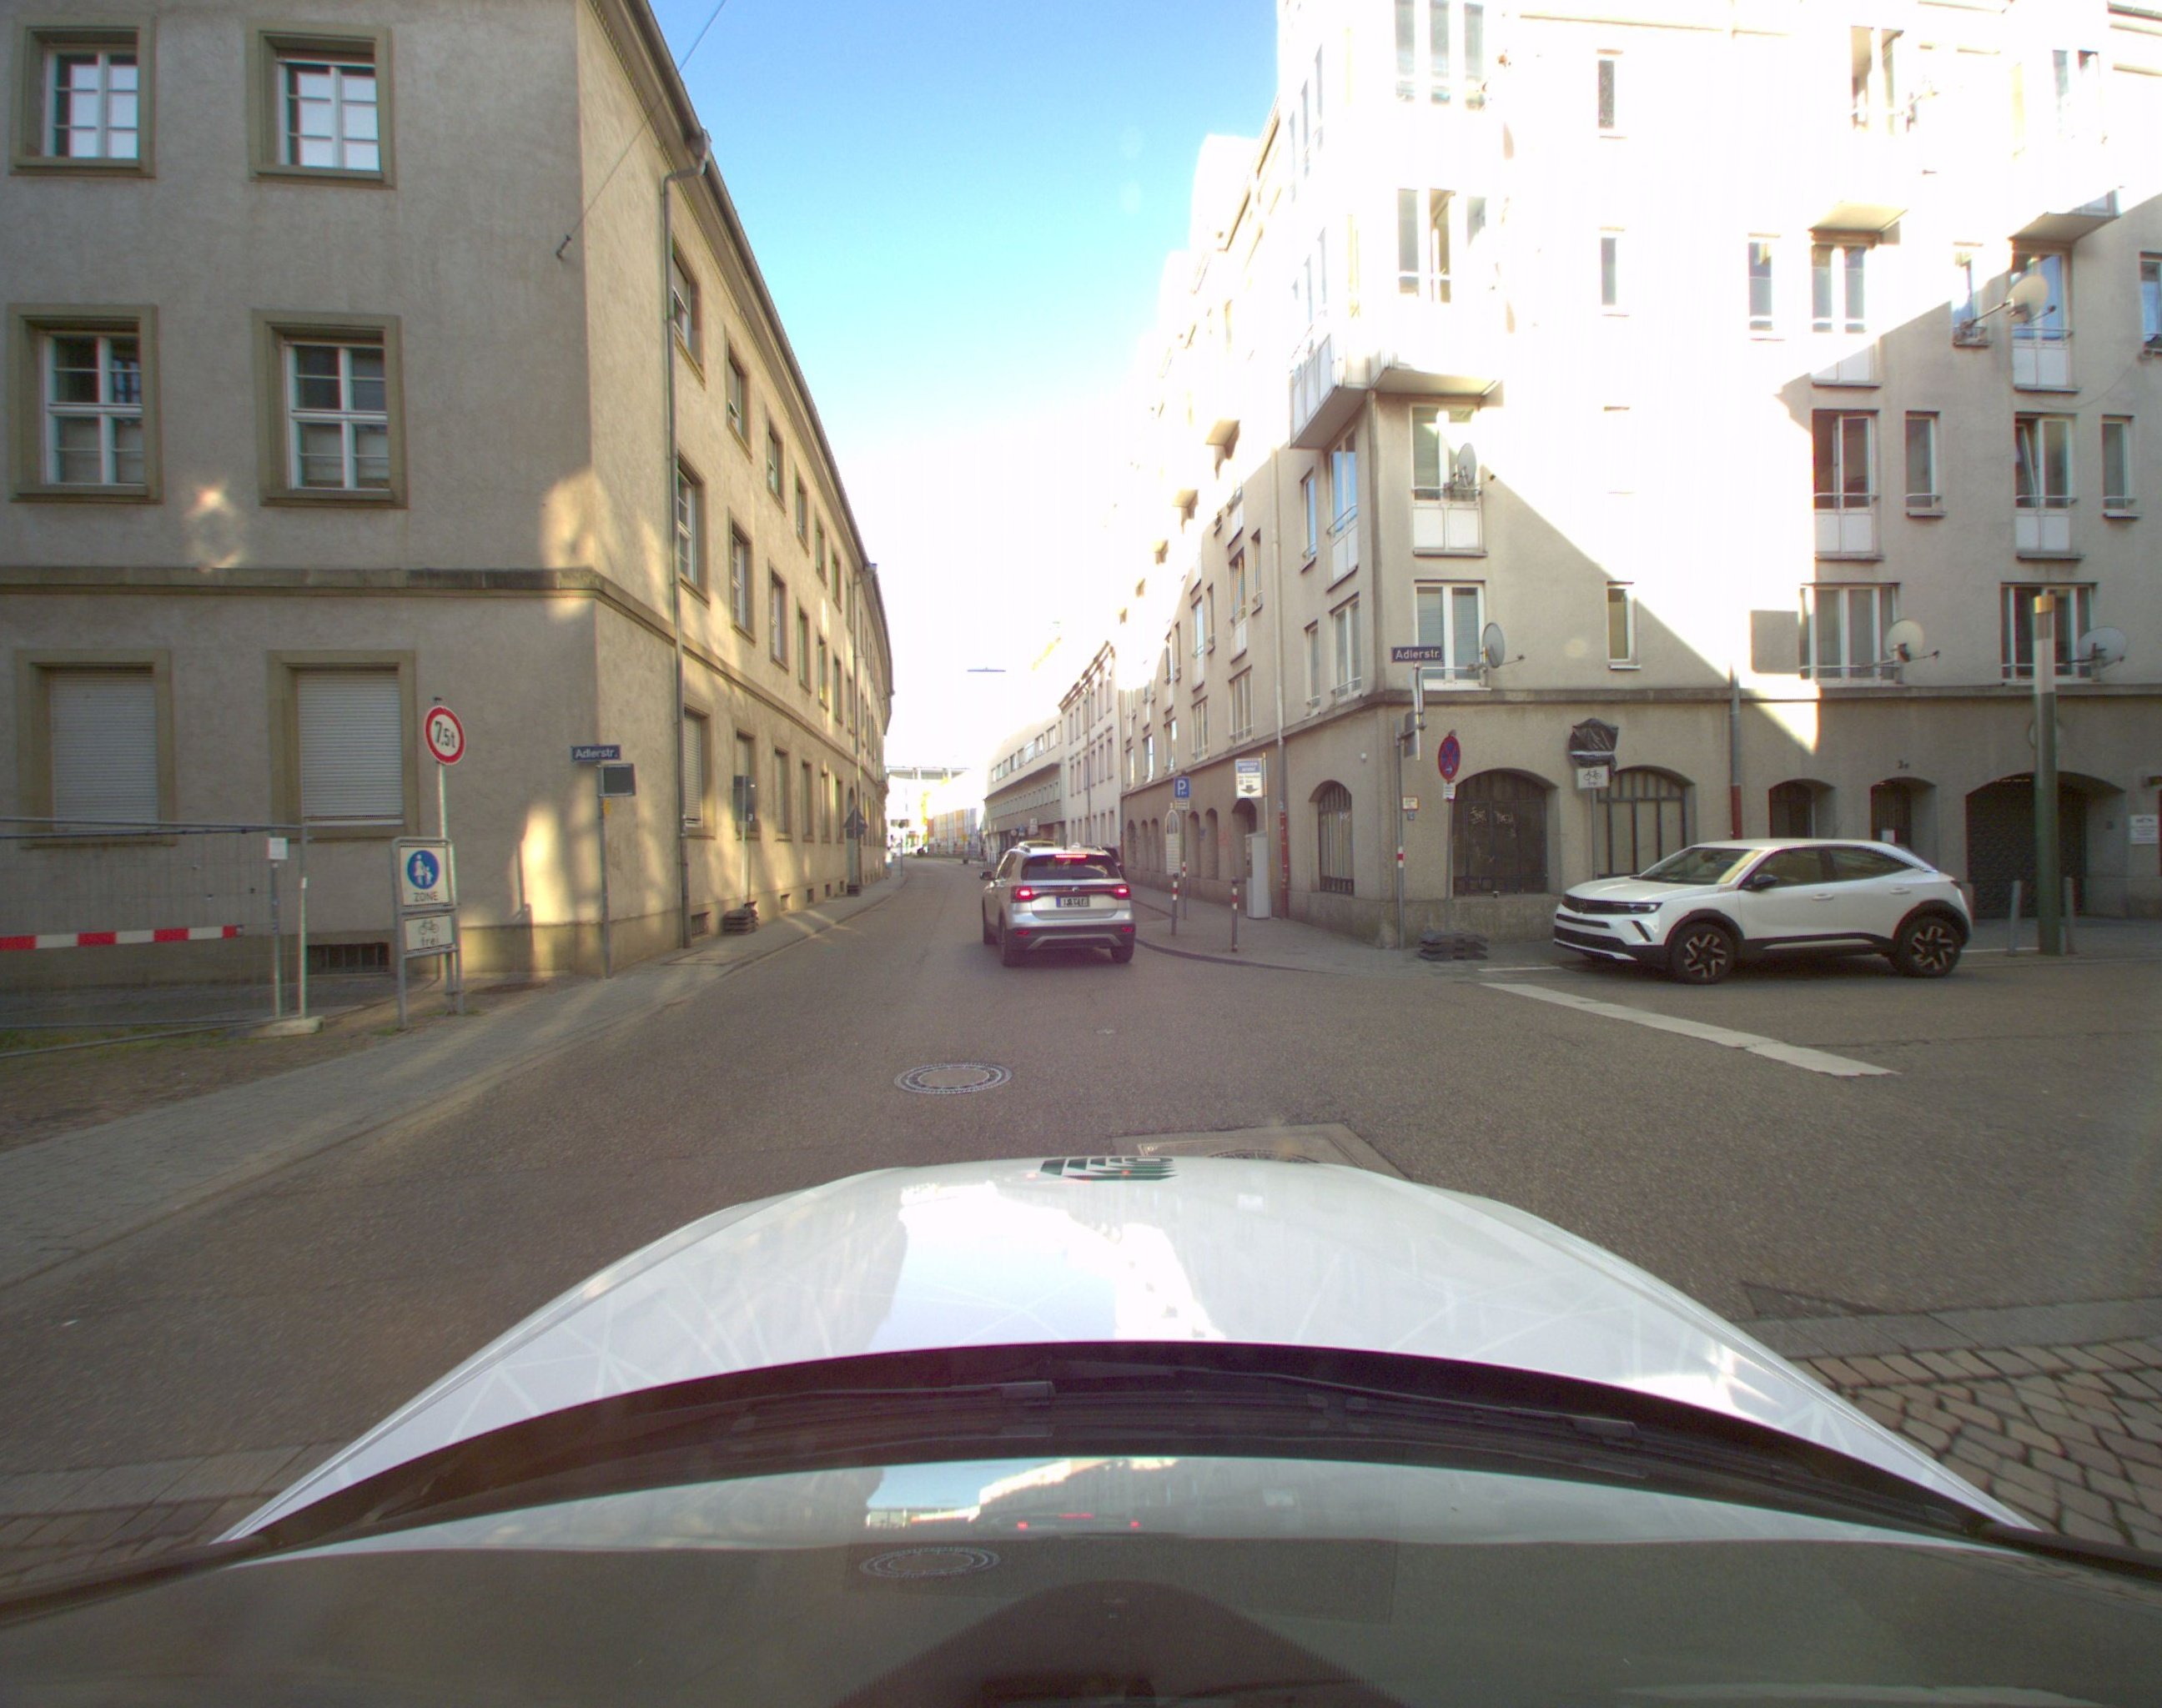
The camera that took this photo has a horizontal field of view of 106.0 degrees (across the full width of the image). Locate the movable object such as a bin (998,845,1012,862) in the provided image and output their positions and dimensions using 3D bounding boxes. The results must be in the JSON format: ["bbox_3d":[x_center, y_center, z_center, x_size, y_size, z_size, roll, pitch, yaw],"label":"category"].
[{"bbox_3d":[-6.386,-0.038,68.385,0.982,1.384,1.314,-3,-1,-14],"label":"movable object such as a bin"}]

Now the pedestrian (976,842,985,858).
[{"bbox_3d":[-11.676,-0.456,94.491,0.698,1.759,1.182,-5,1,-16],"label":"pedestrian"}]

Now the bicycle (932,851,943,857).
[{"bbox_3d":[-25.557,0.055,144.843,1.760,1.004,0.609,-4,1,-21],"label":"bicycle"}]

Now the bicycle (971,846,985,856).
[{"bbox_3d":[-13.025,-0.337,103.300,1.649,1.141,0.281,-6,2,-25],"label":"bicycle"}]

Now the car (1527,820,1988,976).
[{"bbox_3d":[7.769,0.455,9.617,4.058,1.568,1.766,-1,1,-2],"label":"car"}]

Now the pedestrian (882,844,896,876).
[{"bbox_3d":[-10.024,0.306,42.537,0.693,1.670,0.871,0,0,-12],"label":"pedestrian"}]

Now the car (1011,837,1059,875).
[{"bbox_3d":[-2.494,0.072,42.833,1.884,1.882,4.827,-1,1,-11],"label":"car"}]

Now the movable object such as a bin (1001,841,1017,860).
[{"bbox_3d":[-5.907,-0.279,66.834,0.982,1.480,1.544,-3,-1,-14],"label":"movable object such as a bin"}]

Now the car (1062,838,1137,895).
[{"bbox_3d":[0.501,0.337,26.300,1.823,1.654,4.483,-1,1,-7],"label":"car"}]

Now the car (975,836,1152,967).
[{"bbox_3d":[-0.443,0.546,11.979,1.827,1.559,3.969,-1,1,-13],"label":"car"}]

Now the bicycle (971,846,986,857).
[{"bbox_3d":[-12.862,-0.310,101.851,1.752,1.141,0.549,-5,2,-17],"label":"bicycle"}]

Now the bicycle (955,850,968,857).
[{"bbox_3d":[-16.915,-0.134,115.132,1.752,0.946,0.549,-2,1,-17],"label":"bicycle"}]

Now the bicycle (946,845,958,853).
[{"bbox_3d":[-20.850,-0.803,131.236,1.815,1.137,0.548,-2,0,-18],"label":"bicycle"}]
